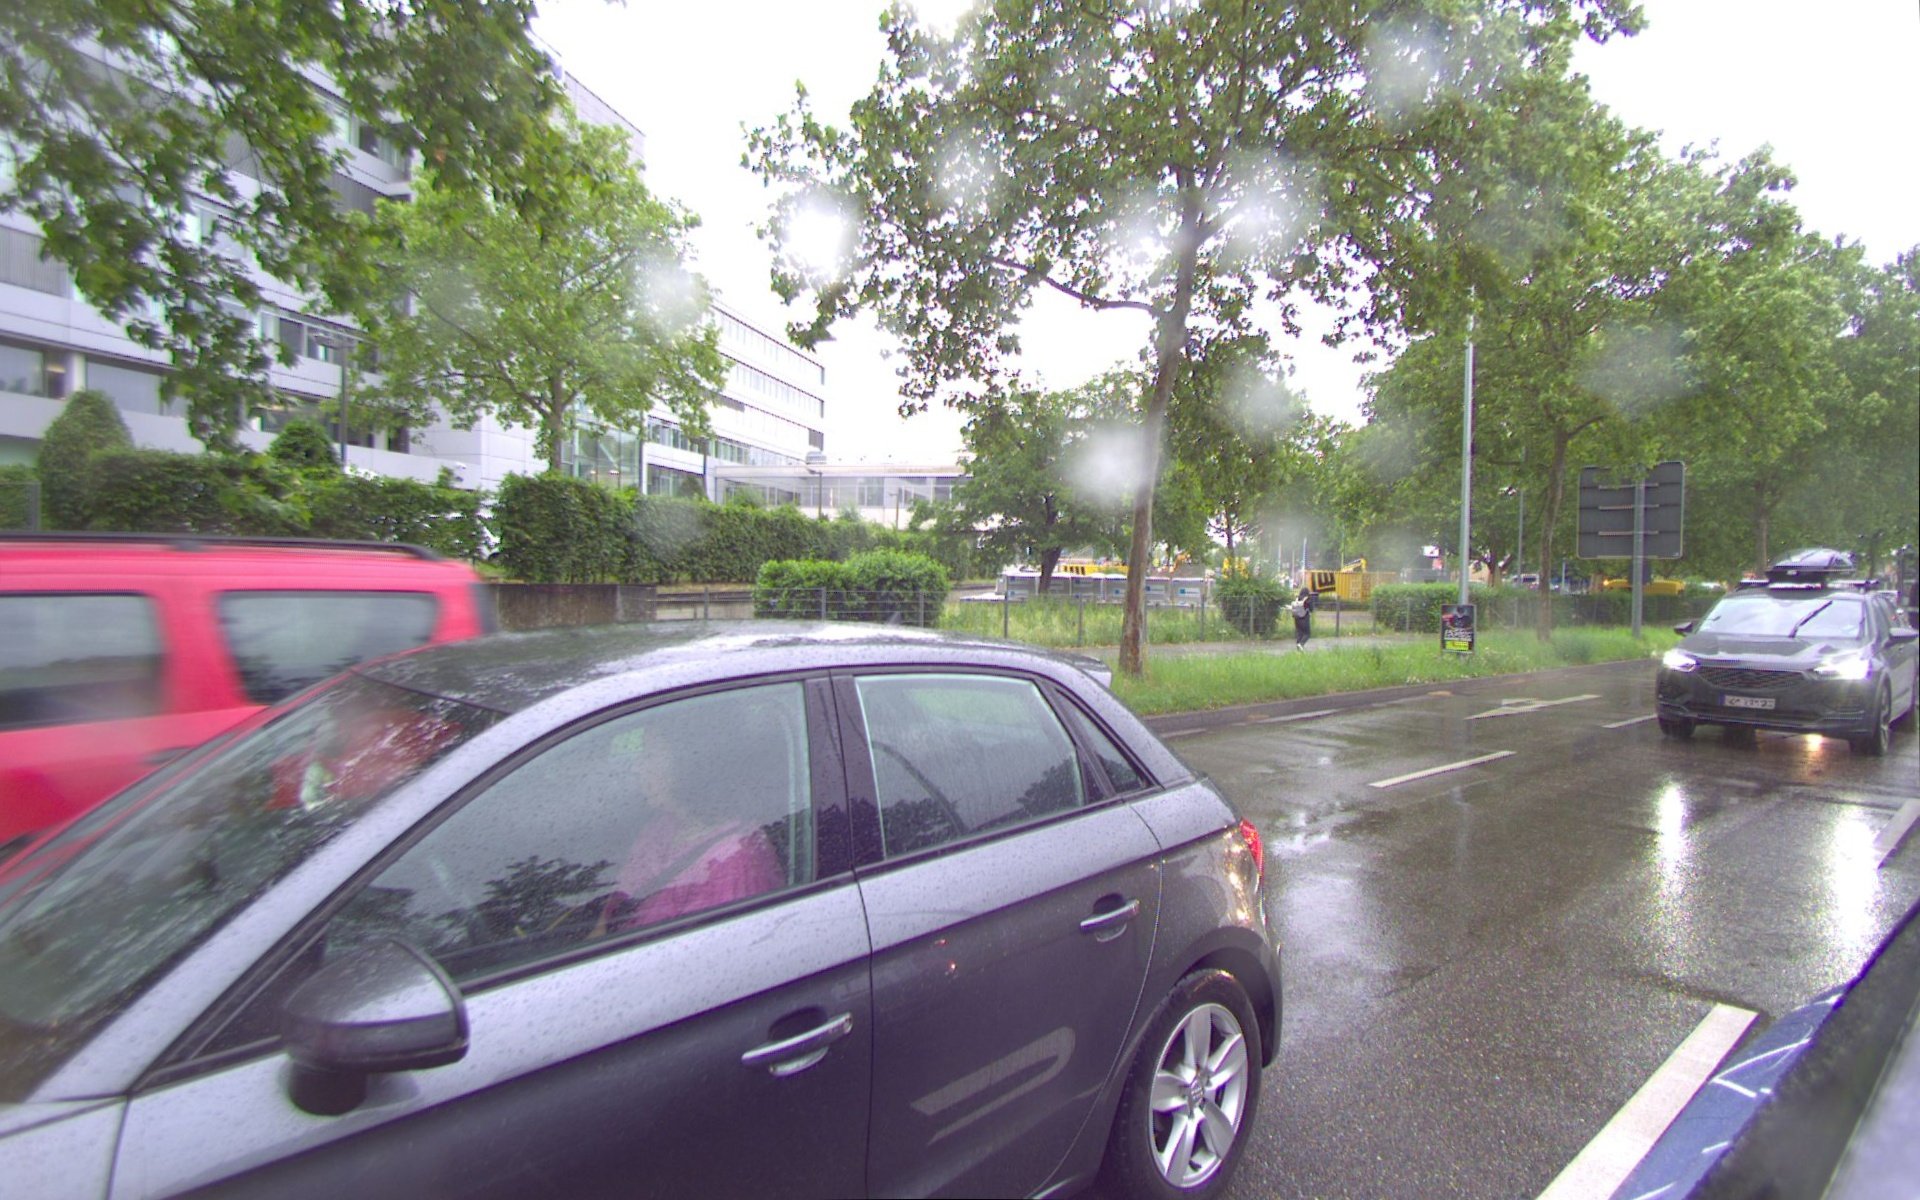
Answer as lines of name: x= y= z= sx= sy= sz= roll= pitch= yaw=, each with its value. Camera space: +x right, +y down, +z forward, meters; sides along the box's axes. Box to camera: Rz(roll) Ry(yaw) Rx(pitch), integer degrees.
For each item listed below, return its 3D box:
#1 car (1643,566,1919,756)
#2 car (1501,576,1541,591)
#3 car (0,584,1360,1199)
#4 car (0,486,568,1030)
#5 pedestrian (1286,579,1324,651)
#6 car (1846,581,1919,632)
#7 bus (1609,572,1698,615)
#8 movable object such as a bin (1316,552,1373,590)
car: x=9.374 y=0.524 z=11.285 sx=4.347 sy=1.719 sz=1.892 roll=0 pitch=1 yaw=-42
car: x=53.153 y=-1.581 z=95.948 sx=3.115 sy=1.346 sz=1.419 roll=0 pitch=0 yaw=23
car: x=-0.856 y=0.701 z=2.175 sx=3.715 sy=1.446 sz=1.679 roll=0 pitch=1 yaw=-41
car: x=-3.827 y=0.500 z=3.630 sx=4.198 sy=1.715 sz=1.713 roll=-1 pitch=1 yaw=-41
pedestrian: x=8.479 y=0.349 z=24.890 sx=0.645 sy=1.738 sz=0.645 roll=0 pitch=0 yaw=-40
car: x=33.232 y=0.244 z=36.250 sx=4.074 sy=1.707 sz=1.677 roll=1 pitch=-1 yaw=-41
bus: x=43.730 y=-0.417 z=63.916 sx=1.681 sy=2.600 sz=4.366 roll=0 pitch=0 yaw=-41
movable object such as a bin: x=36.177 y=-2.680 z=95.318 sx=4.875 sy=3.478 sz=1.906 roll=0 pitch=0 yaw=20
